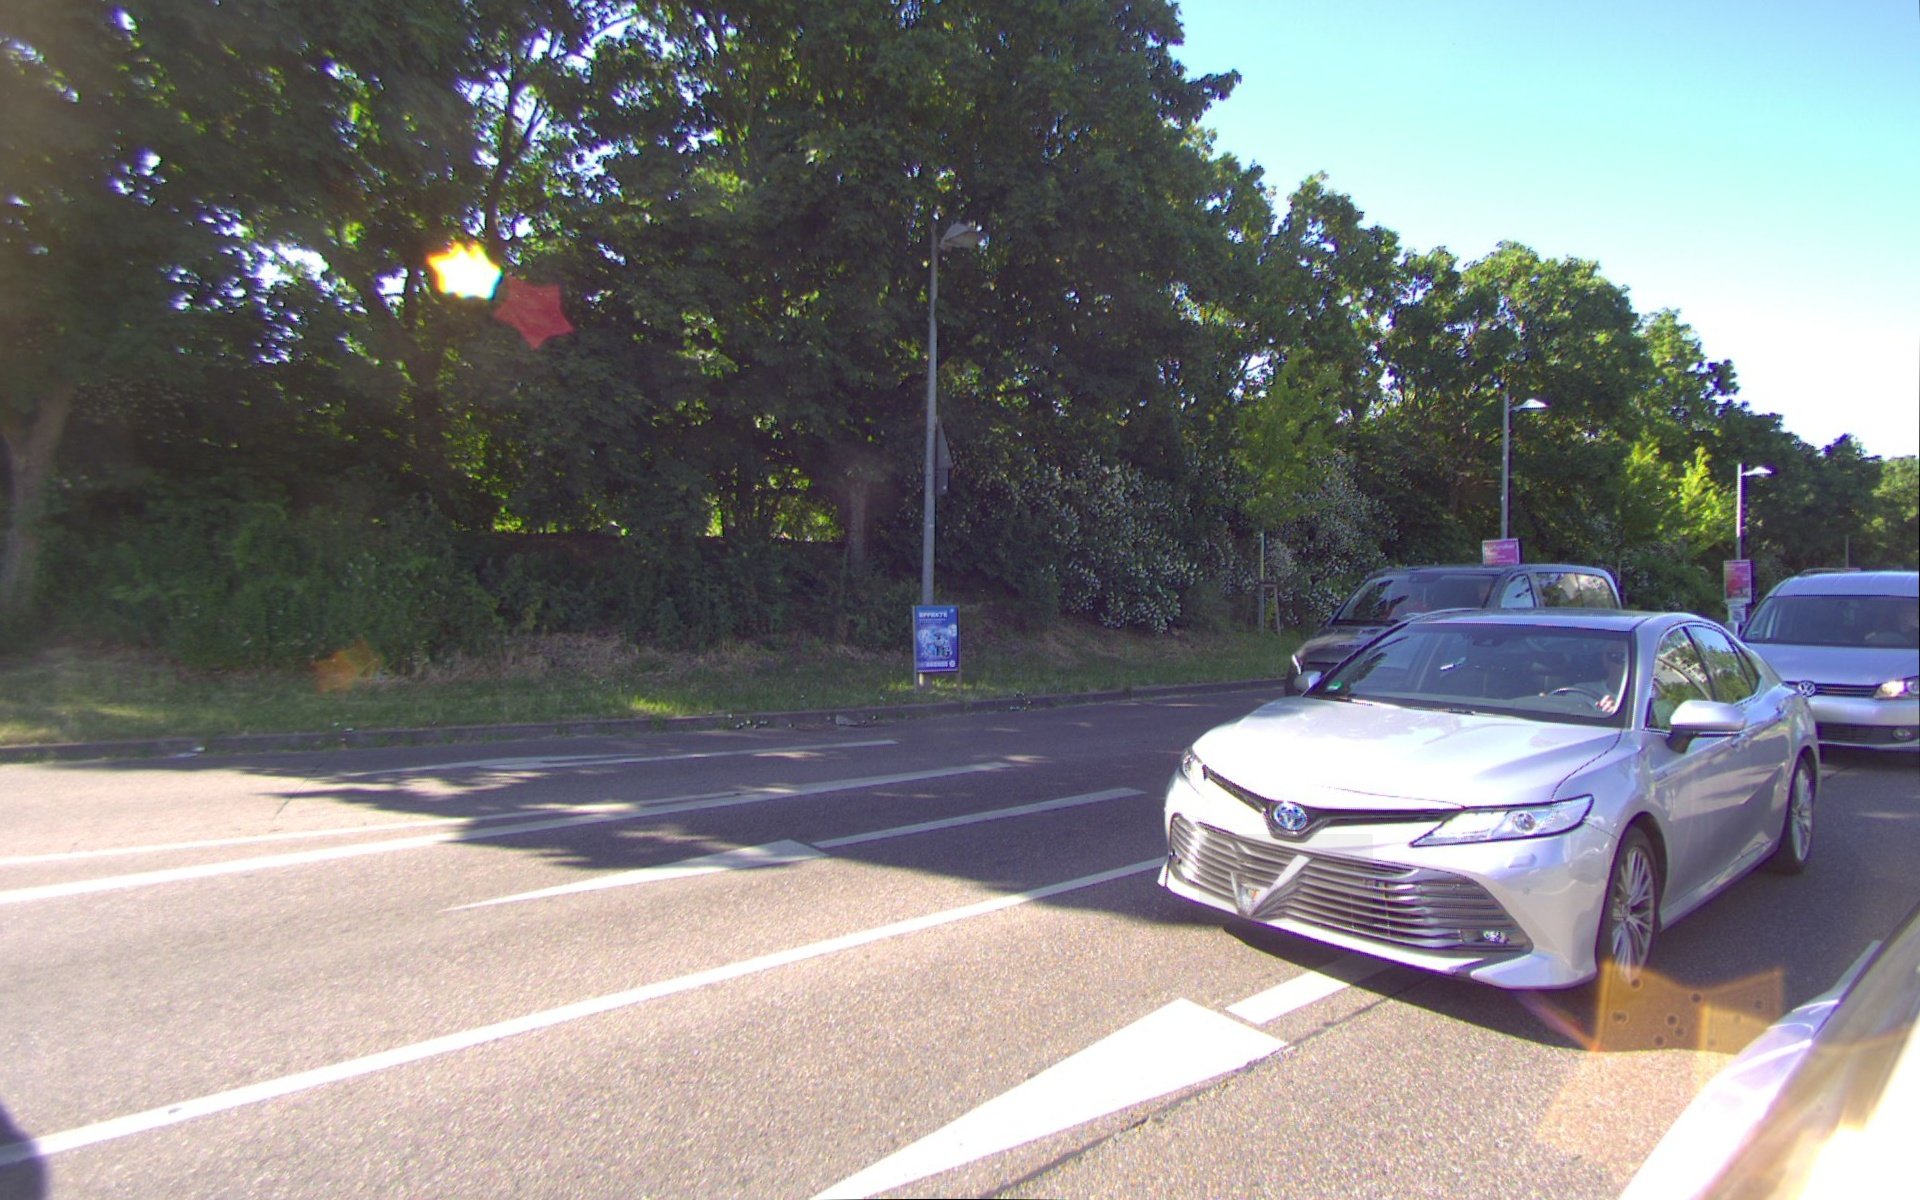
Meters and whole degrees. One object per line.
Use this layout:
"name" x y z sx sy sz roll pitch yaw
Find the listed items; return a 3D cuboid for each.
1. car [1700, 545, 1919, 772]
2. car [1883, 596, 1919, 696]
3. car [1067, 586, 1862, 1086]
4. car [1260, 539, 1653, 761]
"car" 9.507 0.475 10.561 4.540 1.928 1.822 0 1 -40
"car" 15.682 0.677 15.478 3.995 1.421 1.776 0 1 -40
"car" 2.942 0.698 5.358 4.664 1.477 2.069 0 2 -40
"car" 5.621 0.397 11.123 5.056 1.917 1.998 0 1 -40
